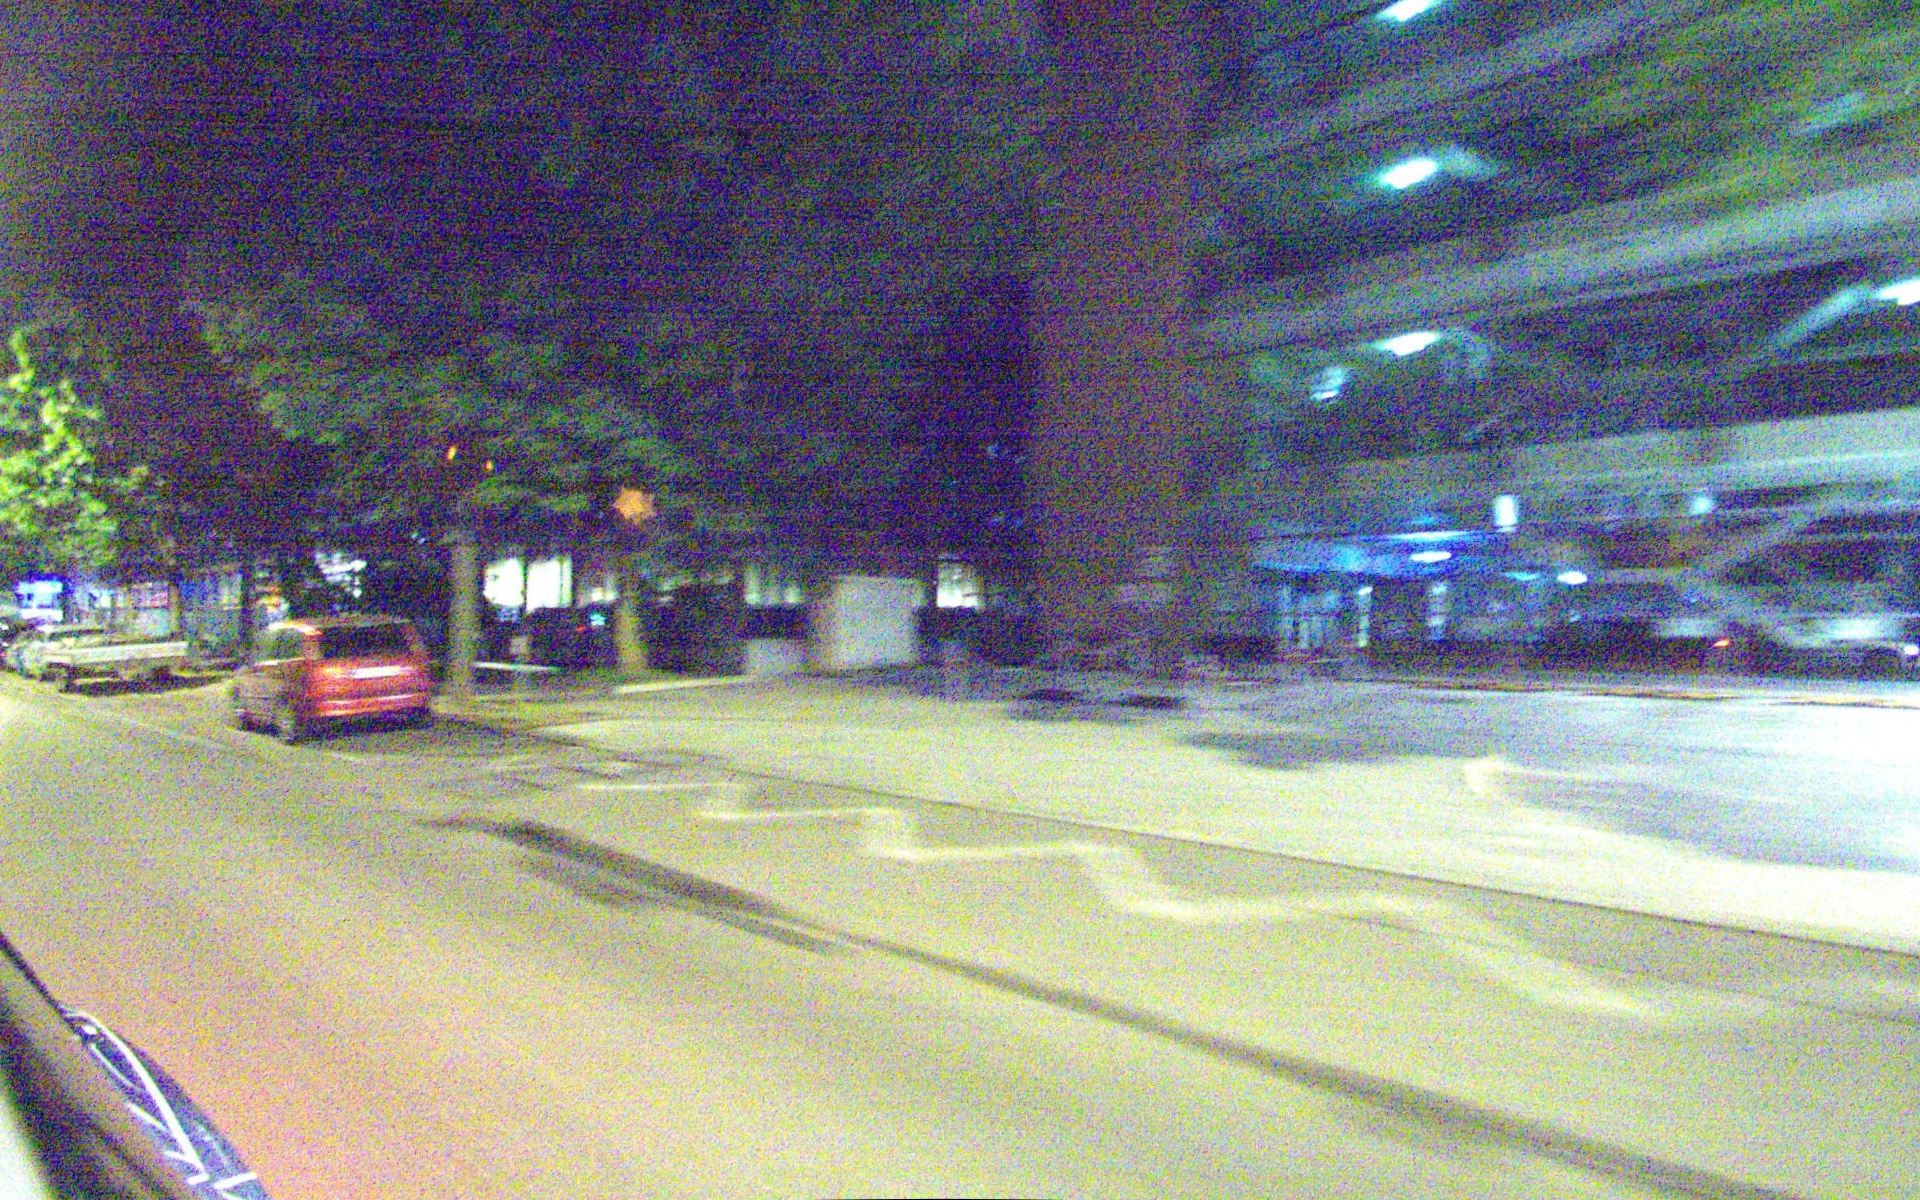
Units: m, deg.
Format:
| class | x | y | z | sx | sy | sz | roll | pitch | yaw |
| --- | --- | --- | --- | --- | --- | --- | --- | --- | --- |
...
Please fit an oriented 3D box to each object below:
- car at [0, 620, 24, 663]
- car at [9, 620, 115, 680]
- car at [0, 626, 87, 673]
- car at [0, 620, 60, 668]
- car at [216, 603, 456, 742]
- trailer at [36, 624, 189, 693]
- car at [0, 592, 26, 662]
| class | x | y | z | sx | sy | sz | roll | pitch | yaw |
| --- | --- | --- | --- | --- | --- | --- | --- | --- | --- |
| car | -37.844 | 1.657 | 39.381 | 4.115 | 1.618 | 1.723 | -3 | -1 | 43 |
| car | -26.157 | 1.403 | 29.430 | 4.202 | 1.513 | 1.699 | -1 | 2 | 40 |
| car | -30.188 | 1.569 | 33.221 | 4.630 | 1.422 | 1.687 | -1 | -1 | 41 |
| car | -34.012 | 1.562 | 36.455 | 4.293 | 1.619 | 1.725 | -1 | -1 | 39 |
| car | -8.910 | 0.923 | 14.316 | 4.072 | 1.610 | 1.803 | -2 | 1 | 42 |
| trailer | -20.494 | 1.320 | 24.367 | 5.434 | 1.344 | 2.088 | -1 | 2 | 42 |
| car | -42.404 | 1.178 | 43.894 | 4.906 | 2.931 | 2.157 | -1 | 0 | 40 |
